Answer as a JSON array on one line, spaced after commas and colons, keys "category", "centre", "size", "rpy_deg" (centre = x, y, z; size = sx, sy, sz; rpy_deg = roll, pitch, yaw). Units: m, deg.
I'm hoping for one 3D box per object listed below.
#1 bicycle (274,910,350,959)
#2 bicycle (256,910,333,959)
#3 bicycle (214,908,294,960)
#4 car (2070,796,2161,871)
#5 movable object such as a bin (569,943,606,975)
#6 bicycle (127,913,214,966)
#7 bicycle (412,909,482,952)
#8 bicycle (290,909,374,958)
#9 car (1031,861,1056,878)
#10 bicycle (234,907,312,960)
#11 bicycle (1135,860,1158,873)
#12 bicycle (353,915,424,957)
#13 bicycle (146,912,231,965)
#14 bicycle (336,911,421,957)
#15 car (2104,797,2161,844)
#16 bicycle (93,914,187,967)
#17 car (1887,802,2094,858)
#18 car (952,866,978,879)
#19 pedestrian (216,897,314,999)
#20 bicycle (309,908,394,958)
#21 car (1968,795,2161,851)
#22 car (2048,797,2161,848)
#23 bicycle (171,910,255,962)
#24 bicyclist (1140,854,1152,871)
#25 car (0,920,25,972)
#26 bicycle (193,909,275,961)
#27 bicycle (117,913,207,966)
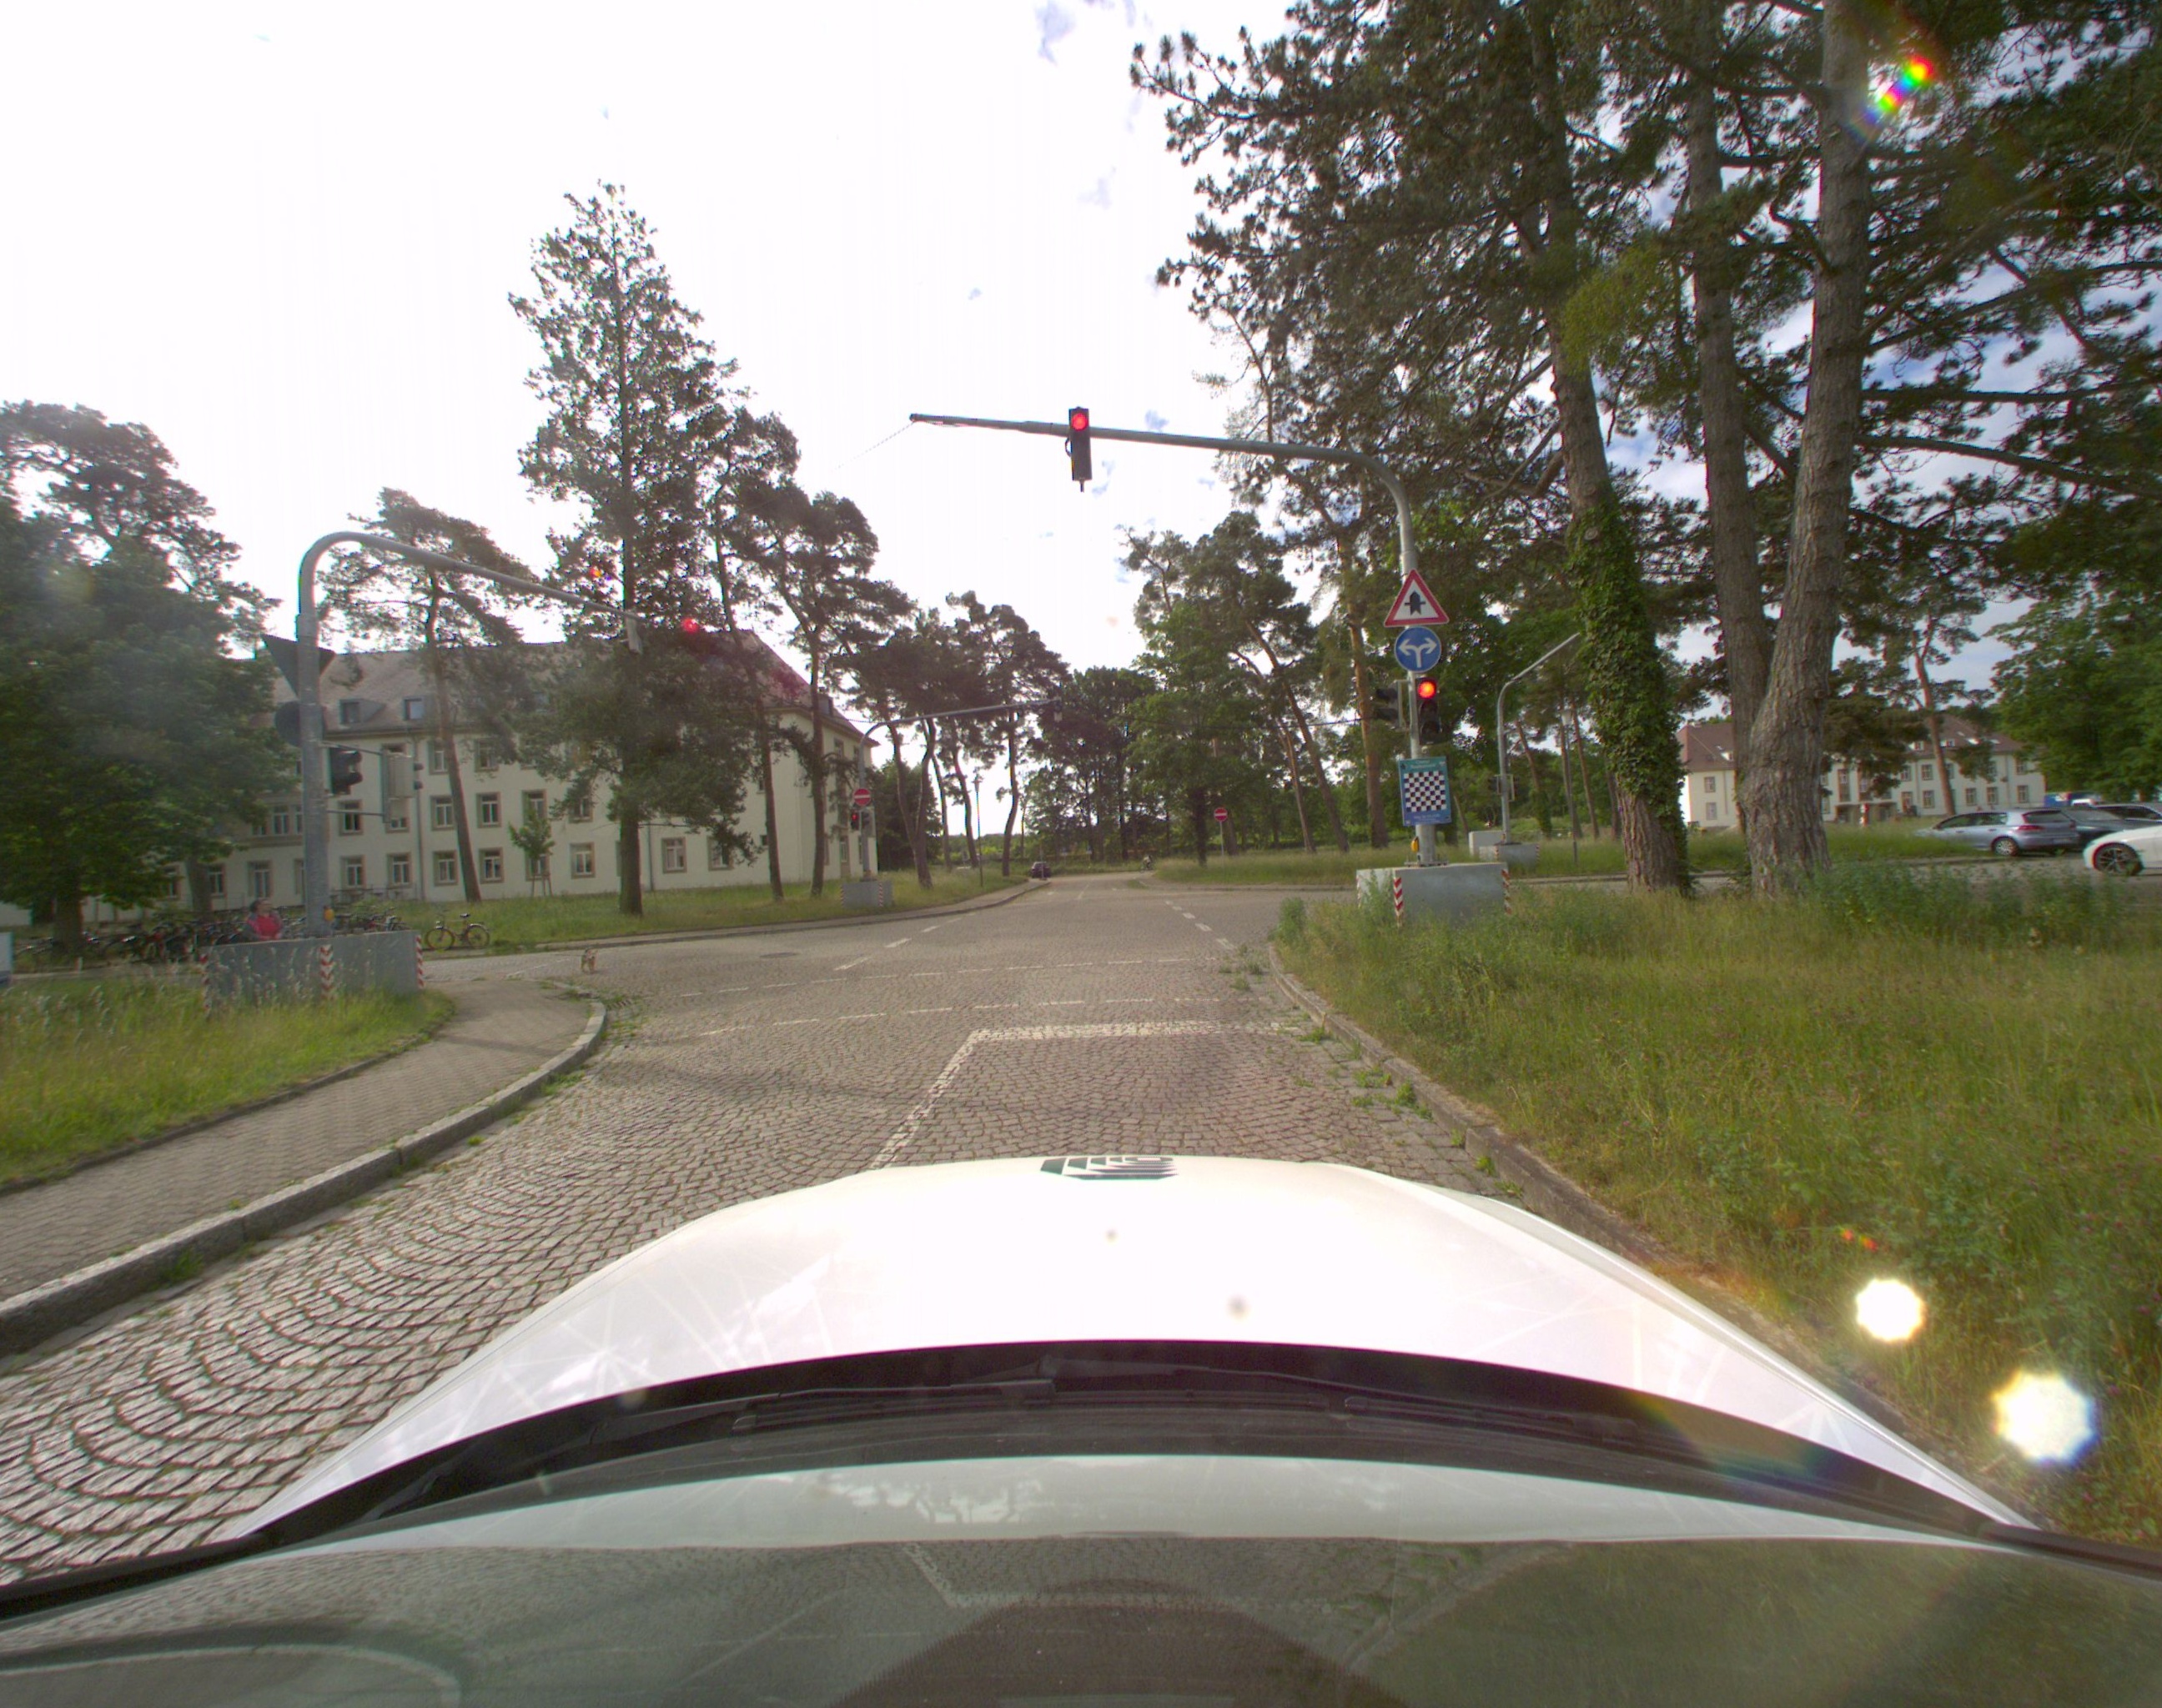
[{"category": "bicycle", "centre": [-21.497, 2.231, 22.813], "size": [0.447, 1.178, 1.695], "rpy_deg": [-3, 0, 0]}, {"category": "bicycle", "centre": [-21.983, 2.235, 22.797], "size": [0.447, 1.178, 1.695], "rpy_deg": [-3, 0, 0]}, {"category": "bicycle", "centre": [-23.201, 2.226, 22.874], "size": [0.447, 1.283, 1.695], "rpy_deg": [-3, 0, 0]}, {"category": "car", "centre": [21.372, -0.460, 14.600], "size": [1.748, 1.415, 4.444], "rpy_deg": [-3, -1, -2]}, {"category": "movable object such as a bin", "centre": [-9.140, 1.941, 15.072], "size": [0.447, 0.503, 0.743], "rpy_deg": [-3, -2, -40]}, {"category": "bicycle", "centre": [-25.428, 2.356, 22.788], "size": [0.447, 1.283, 1.695], "rpy_deg": [-3, 0, 0]}, {"category": "bicycle", "centre": [-16.684, 2.007, 21.434], "size": [1.453, 0.996, 0.452], "rpy_deg": [-3, -1, 2]}, {"category": "bicycle", "centre": [-20.985, 2.201, 22.866], "size": [0.526, 1.178, 1.930], "rpy_deg": [-3, 0, 0]}, {"category": "car", "centre": [-3.597, 1.459, 78.546], "size": [1.985, 1.508, 4.003], "rpy_deg": [-2, 0, 3]}, {"category": "bicycle", "centre": [-22.696, 2.209, 22.911], "size": [0.447, 1.283, 1.695], "rpy_deg": [-3, 0, 0]}, {"category": "bicycle", "centre": [6.092, 1.156, 75.367], "size": [1.981, 1.095, 0.810], "rpy_deg": [-4, 0, -1]}, {"category": "bicycle", "centre": [-18.204, 2.153, 21.425], "size": [1.453, 0.996, 0.452], "rpy_deg": [-3, -1, 2]}, {"category": "bicycle", "centre": [-24.941, 2.339, 22.795], "size": [0.447, 1.283, 1.695], "rpy_deg": [-3, 0, 0]}, {"category": "bicycle", "centre": [-19.704, 2.221, 22.902], "size": [0.573, 1.078, 1.996], "rpy_deg": [-3, 0, 0]}, {"category": "car", "centre": [36.572, -1.162, 26.147], "size": [1.748, 1.524, 4.444], "rpy_deg": [-3, 0, -2]}, {"category": "bicycle", "centre": [-26.359, 2.390, 22.862], "size": [0.447, 1.283, 1.827], "rpy_deg": [-3, 0, 0]}, {"category": "car", "centre": [28.906, -0.695, 26.141], "size": [1.745, 1.524, 4.451], "rpy_deg": [-4, 0, 3]}, {"category": "car", "centre": [-11.298, 1.787, 79.472], "size": [1.682, 1.156, 4.003], "rpy_deg": [-3, 0, 3]}, {"category": "pedestrian", "centre": [-14.424, 1.640, 14.411], "size": [0.851, 1.668, 0.945], "rpy_deg": [-4, -1, 27]}, {"category": "bicycle", "centre": [-20.402, 2.180, 22.833], "size": [0.573, 1.178, 1.954], "rpy_deg": [-3, 0, 0]}, {"category": "car", "centre": [31.319, -0.928, 25.670], "size": [1.748, 1.524, 4.443], "rpy_deg": [-3, 0, -2]}, {"category": "car", "centre": [33.970, -1.018, 25.591], "size": [1.748, 1.524, 4.444], "rpy_deg": [-3, 0, -2]}, {"category": "bicycle", "centre": [-24.279, 2.263, 22.816], "size": [0.447, 1.283, 1.695], "rpy_deg": [-3, 0, 0]}, {"category": "bicyclist", "centre": [6.016, 0.814, 75.338], "size": [0.972, 1.510, 0.807], "rpy_deg": [-3, 0, -2]}, {"category": "car", "centre": [-34.334, 2.902, 23.748], "size": [1.832, 1.556, 3.899], "rpy_deg": [-3, 0, 2]}, {"category": "bicycle", "centre": [-23.716, 2.244, 22.835], "size": [0.447, 1.283, 1.695], "rpy_deg": [-3, 0, 0]}, {"category": "bicycle", "centre": [-25.893, 2.376, 22.990], "size": [0.441, 1.283, 1.785], "rpy_deg": [-3, 0, 0]}]
